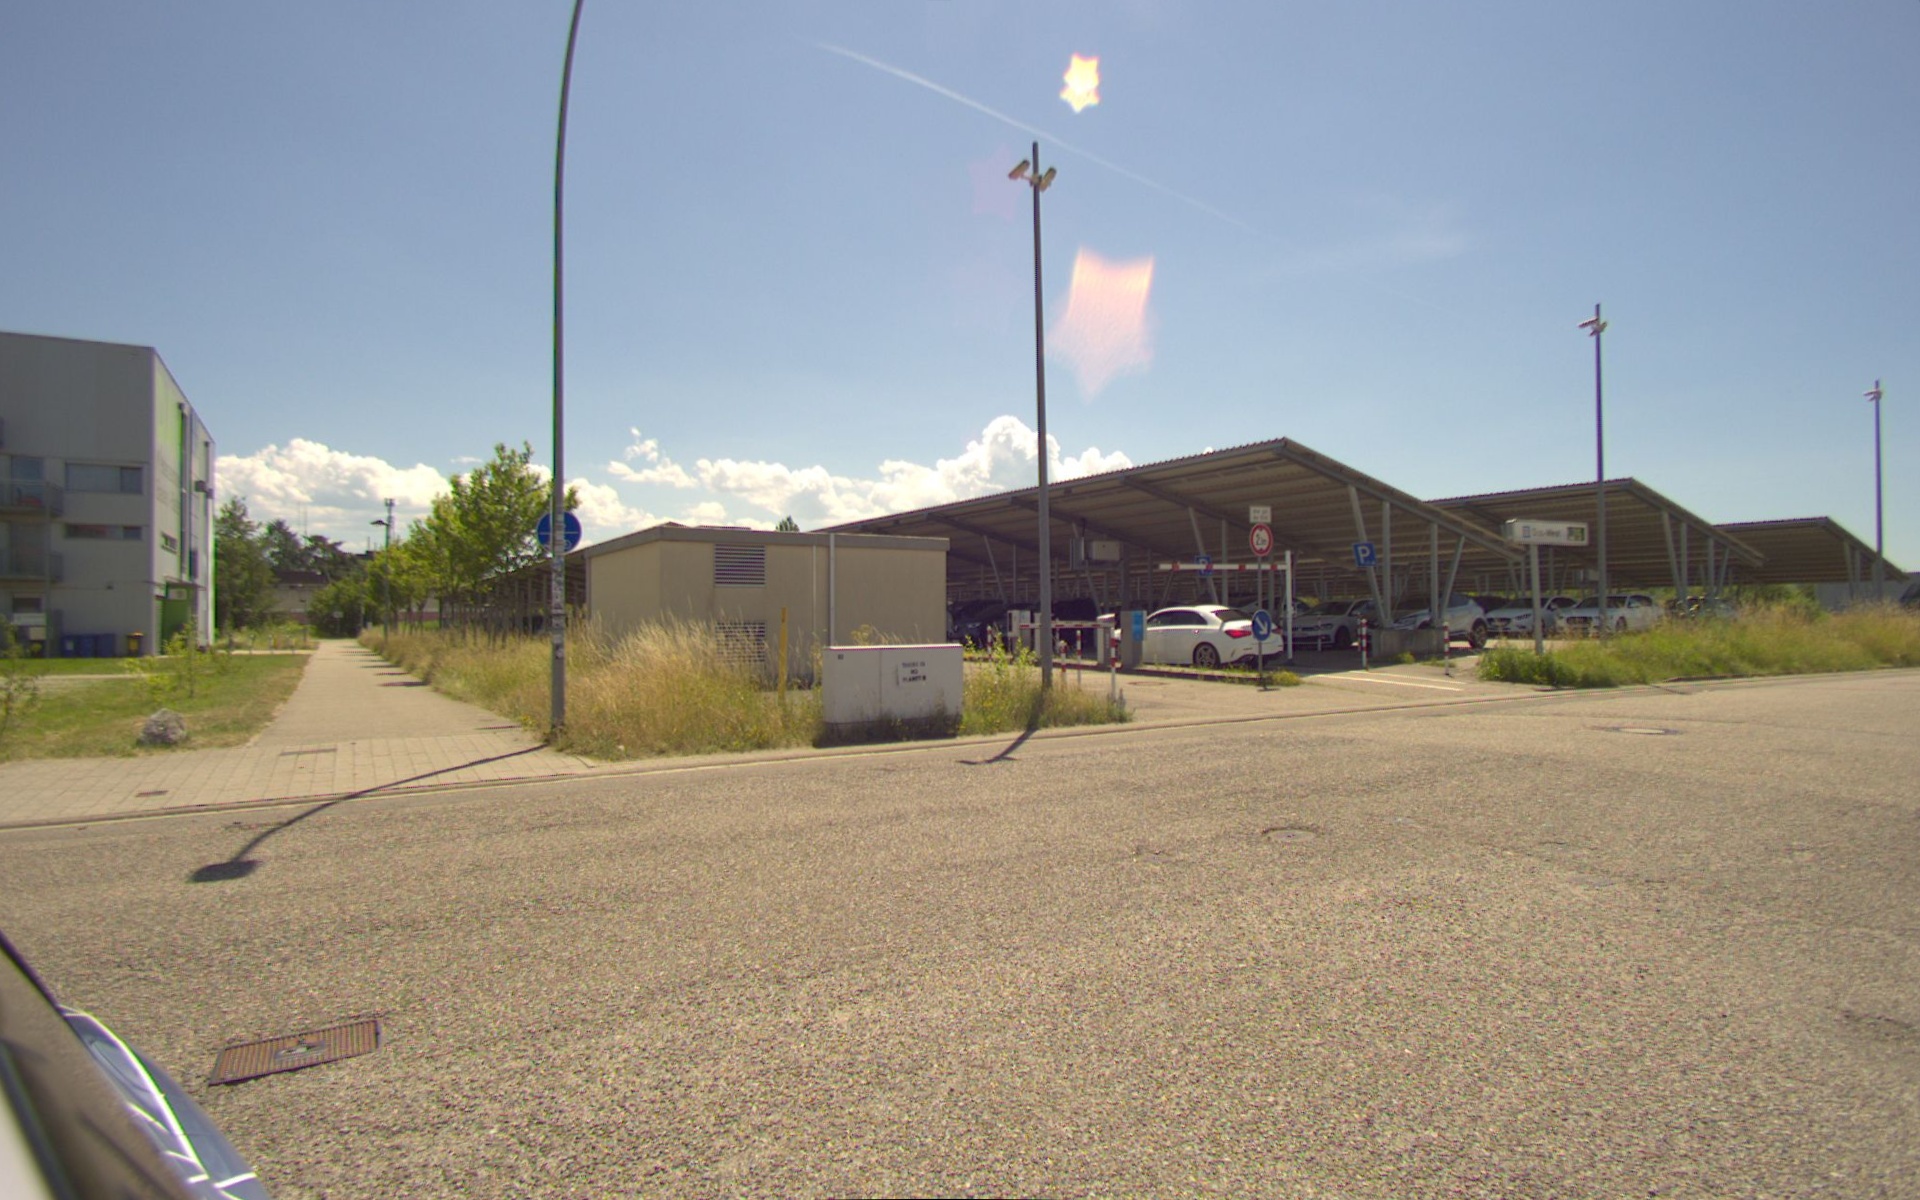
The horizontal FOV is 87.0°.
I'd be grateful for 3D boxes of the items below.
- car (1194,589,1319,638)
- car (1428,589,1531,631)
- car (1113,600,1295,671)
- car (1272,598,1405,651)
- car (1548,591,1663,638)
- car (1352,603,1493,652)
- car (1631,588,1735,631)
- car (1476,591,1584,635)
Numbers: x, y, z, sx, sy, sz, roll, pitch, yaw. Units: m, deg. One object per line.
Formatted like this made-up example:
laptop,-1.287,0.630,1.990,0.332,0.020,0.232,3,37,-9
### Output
car,9.265,0.430,31.583,3.712,1.447,1.728,0,-2,-33
car,19.002,0.381,37.016,3.712,1.447,1.728,0,-2,-33
car,5.333,0.774,22.521,1.694,1.447,3.786,1,-2,-34
car,10.989,0.713,29.362,3.712,1.447,1.728,0,-2,-33
car,20.847,0.472,32.641,3.712,1.447,1.728,0,-2,-33
car,12.435,0.732,27.172,3.712,1.237,1.728,0,-2,-33
car,25.574,0.355,35.774,3.712,1.447,1.728,0,-2,-33
car,19.789,0.473,35.104,3.712,1.447,1.728,0,-2,-33
